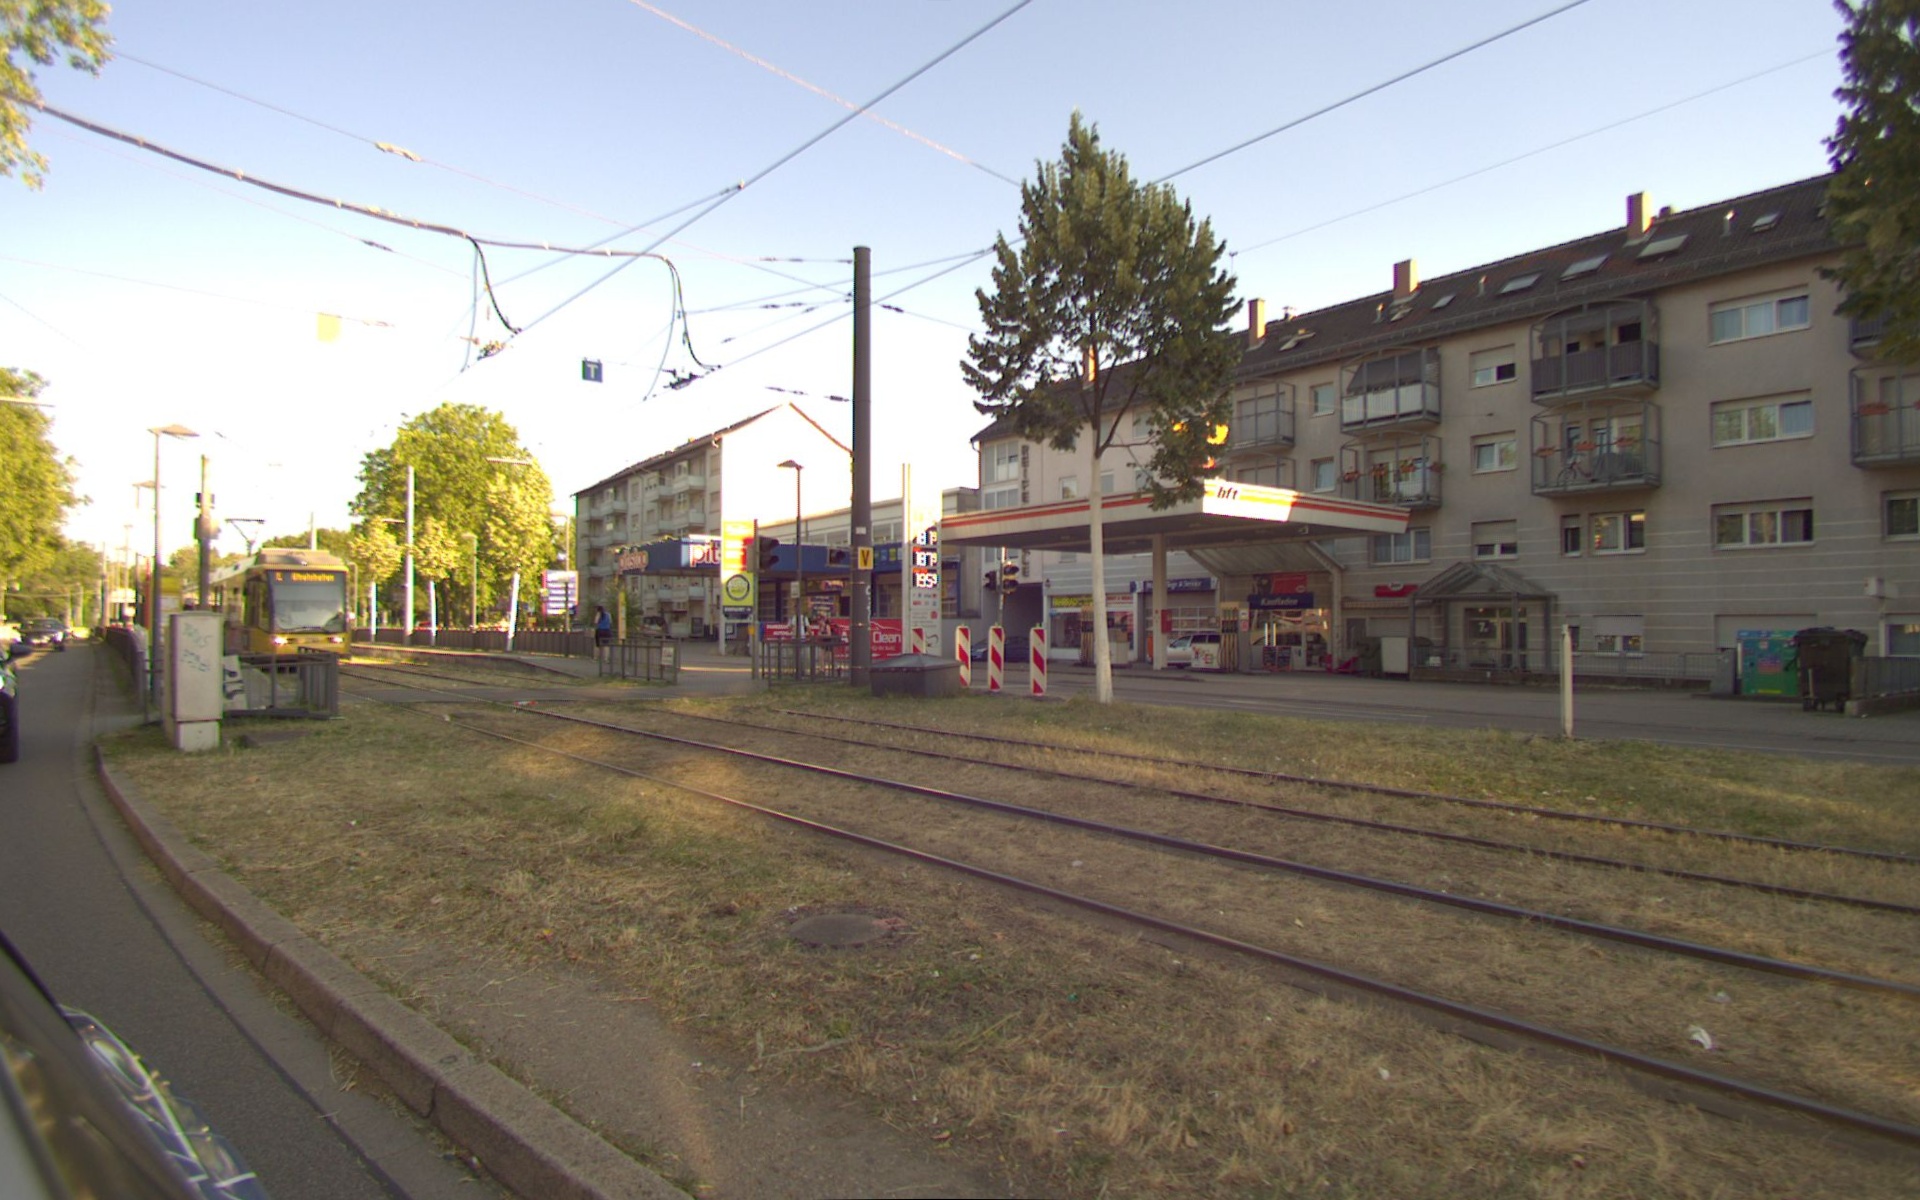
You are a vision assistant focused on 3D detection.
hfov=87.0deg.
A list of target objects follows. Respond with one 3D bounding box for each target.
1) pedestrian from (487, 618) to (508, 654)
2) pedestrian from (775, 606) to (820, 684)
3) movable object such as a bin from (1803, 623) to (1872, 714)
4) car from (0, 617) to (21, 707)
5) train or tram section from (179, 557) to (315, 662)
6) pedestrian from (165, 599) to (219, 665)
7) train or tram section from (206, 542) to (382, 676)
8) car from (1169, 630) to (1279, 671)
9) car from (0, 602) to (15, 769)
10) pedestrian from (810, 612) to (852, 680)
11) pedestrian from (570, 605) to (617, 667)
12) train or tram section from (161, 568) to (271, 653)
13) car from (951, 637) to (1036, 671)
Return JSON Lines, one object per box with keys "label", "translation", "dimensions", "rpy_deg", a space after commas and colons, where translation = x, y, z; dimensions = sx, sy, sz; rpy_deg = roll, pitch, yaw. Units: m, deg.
{"label": "pedestrian", "translation": [-25.108, 1.951, 54.923], "dimensions": [0.744, 1.896, 1.002], "rpy_deg": [-2, 0, -42]}
{"label": "pedestrian", "translation": [-4.126, 1.132, 25.695], "dimensions": [0.847, 1.947, 0.756], "rpy_deg": [2, -3, -43]}
{"label": "movable object such as a bin", "translation": [14.165, 1.086, 16.336], "dimensions": [0.655, 1.411, 0.750], "rpy_deg": [2, -3, -42]}
{"label": "car", "translation": [-20.220, 1.210, 20.261], "dimensions": [1.862, 1.678, 4.860], "rpy_deg": [0, -1, -41]}
{"label": "train or tram section", "translation": [-27.722, 0.437, 39.095], "dimensions": [2.998, 3.544, 10.109], "rpy_deg": [3, -3, -42]}
{"label": "pedestrian", "translation": [-18.595, 0.762, 24.515], "dimensions": [0.789, 1.562, 0.906], "rpy_deg": [-1, -1, 41]}
{"label": "train or tram section", "translation": [-20.995, 0.345, 31.550], "dimensions": [2.998, 3.544, 10.109], "rpy_deg": [3, -3, -42]}
{"label": "car", "translation": [10.235, 1.928, 39.422], "dimensions": [1.788, 1.535, 3.836], "rpy_deg": [2, -2, -38]}
{"label": "car", "translation": [-11.421, 0.894, 10.752], "dimensions": [1.884, 1.628, 4.088], "rpy_deg": [-1, 0, -45]}
{"label": "pedestrian", "translation": [-3.437, 1.211, 26.995], "dimensions": [0.744, 1.760, 0.861], "rpy_deg": [2, -3, -44]}
{"label": "pedestrian", "translation": [-10.356, 1.004, 28.596], "dimensions": [0.923, 1.666, 0.927], "rpy_deg": [-2, 0, -41]}
{"label": "train or tram section", "translation": [-34.442, 0.540, 46.660], "dimensions": [2.998, 3.544, 10.109], "rpy_deg": [3, -3, -42]}
{"label": "car", "translation": [1.614, 2.515, 48.078], "dimensions": [3.745, 1.535, 1.821], "rpy_deg": [1, -2, -38]}
